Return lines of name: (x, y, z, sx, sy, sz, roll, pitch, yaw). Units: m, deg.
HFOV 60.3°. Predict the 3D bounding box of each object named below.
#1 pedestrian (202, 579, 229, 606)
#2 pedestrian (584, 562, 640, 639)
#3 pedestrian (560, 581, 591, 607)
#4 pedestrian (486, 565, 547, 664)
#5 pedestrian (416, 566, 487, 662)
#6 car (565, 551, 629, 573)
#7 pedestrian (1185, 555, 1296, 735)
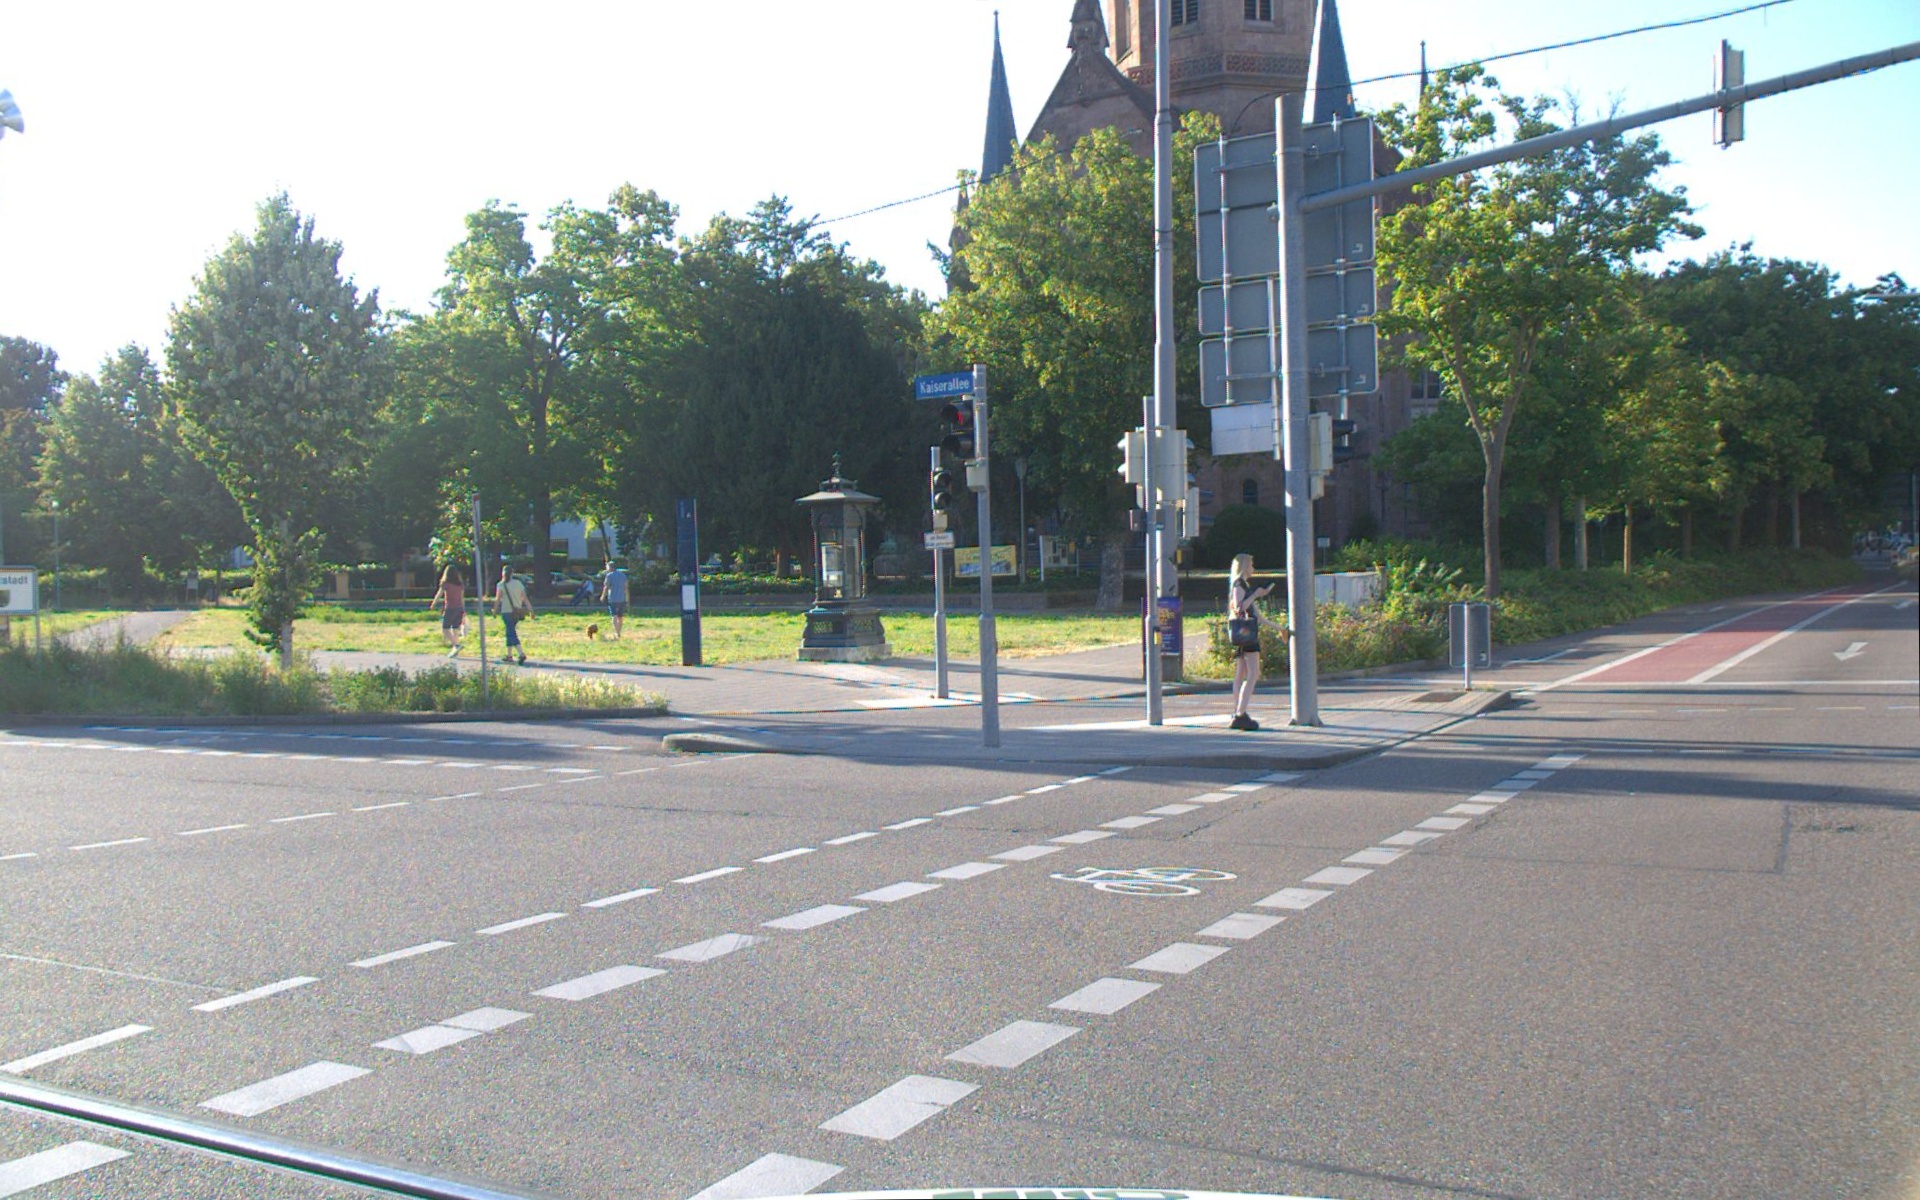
pedestrian: (-35.001, -0.353, 77.800, 0.826, 1.208, 0.812, -1, 1, 29)
pedestrian: (-8.039, -0.011, 38.199, 0.999, 1.726, 0.839, 1, 2, 43)
pedestrian: (-15.328, -0.239, 65.994, 0.784, 0.970, 1.175, 0, 2, 9)
pedestrian: (-7.953, 0.246, 29.644, 0.705, 1.726, 0.881, -2, 2, -44)
pedestrian: (-9.439, 0.242, 30.705, 0.999, 1.726, 0.840, 1, 2, 42)
car: (-27.660, -2.906, 126.161, 4.357, 1.599, 2.001, -1, 1, 20)
pedestrian: (2.887, 0.436, 16.976, 0.795, 1.769, 0.966, 0, 1, 32)
